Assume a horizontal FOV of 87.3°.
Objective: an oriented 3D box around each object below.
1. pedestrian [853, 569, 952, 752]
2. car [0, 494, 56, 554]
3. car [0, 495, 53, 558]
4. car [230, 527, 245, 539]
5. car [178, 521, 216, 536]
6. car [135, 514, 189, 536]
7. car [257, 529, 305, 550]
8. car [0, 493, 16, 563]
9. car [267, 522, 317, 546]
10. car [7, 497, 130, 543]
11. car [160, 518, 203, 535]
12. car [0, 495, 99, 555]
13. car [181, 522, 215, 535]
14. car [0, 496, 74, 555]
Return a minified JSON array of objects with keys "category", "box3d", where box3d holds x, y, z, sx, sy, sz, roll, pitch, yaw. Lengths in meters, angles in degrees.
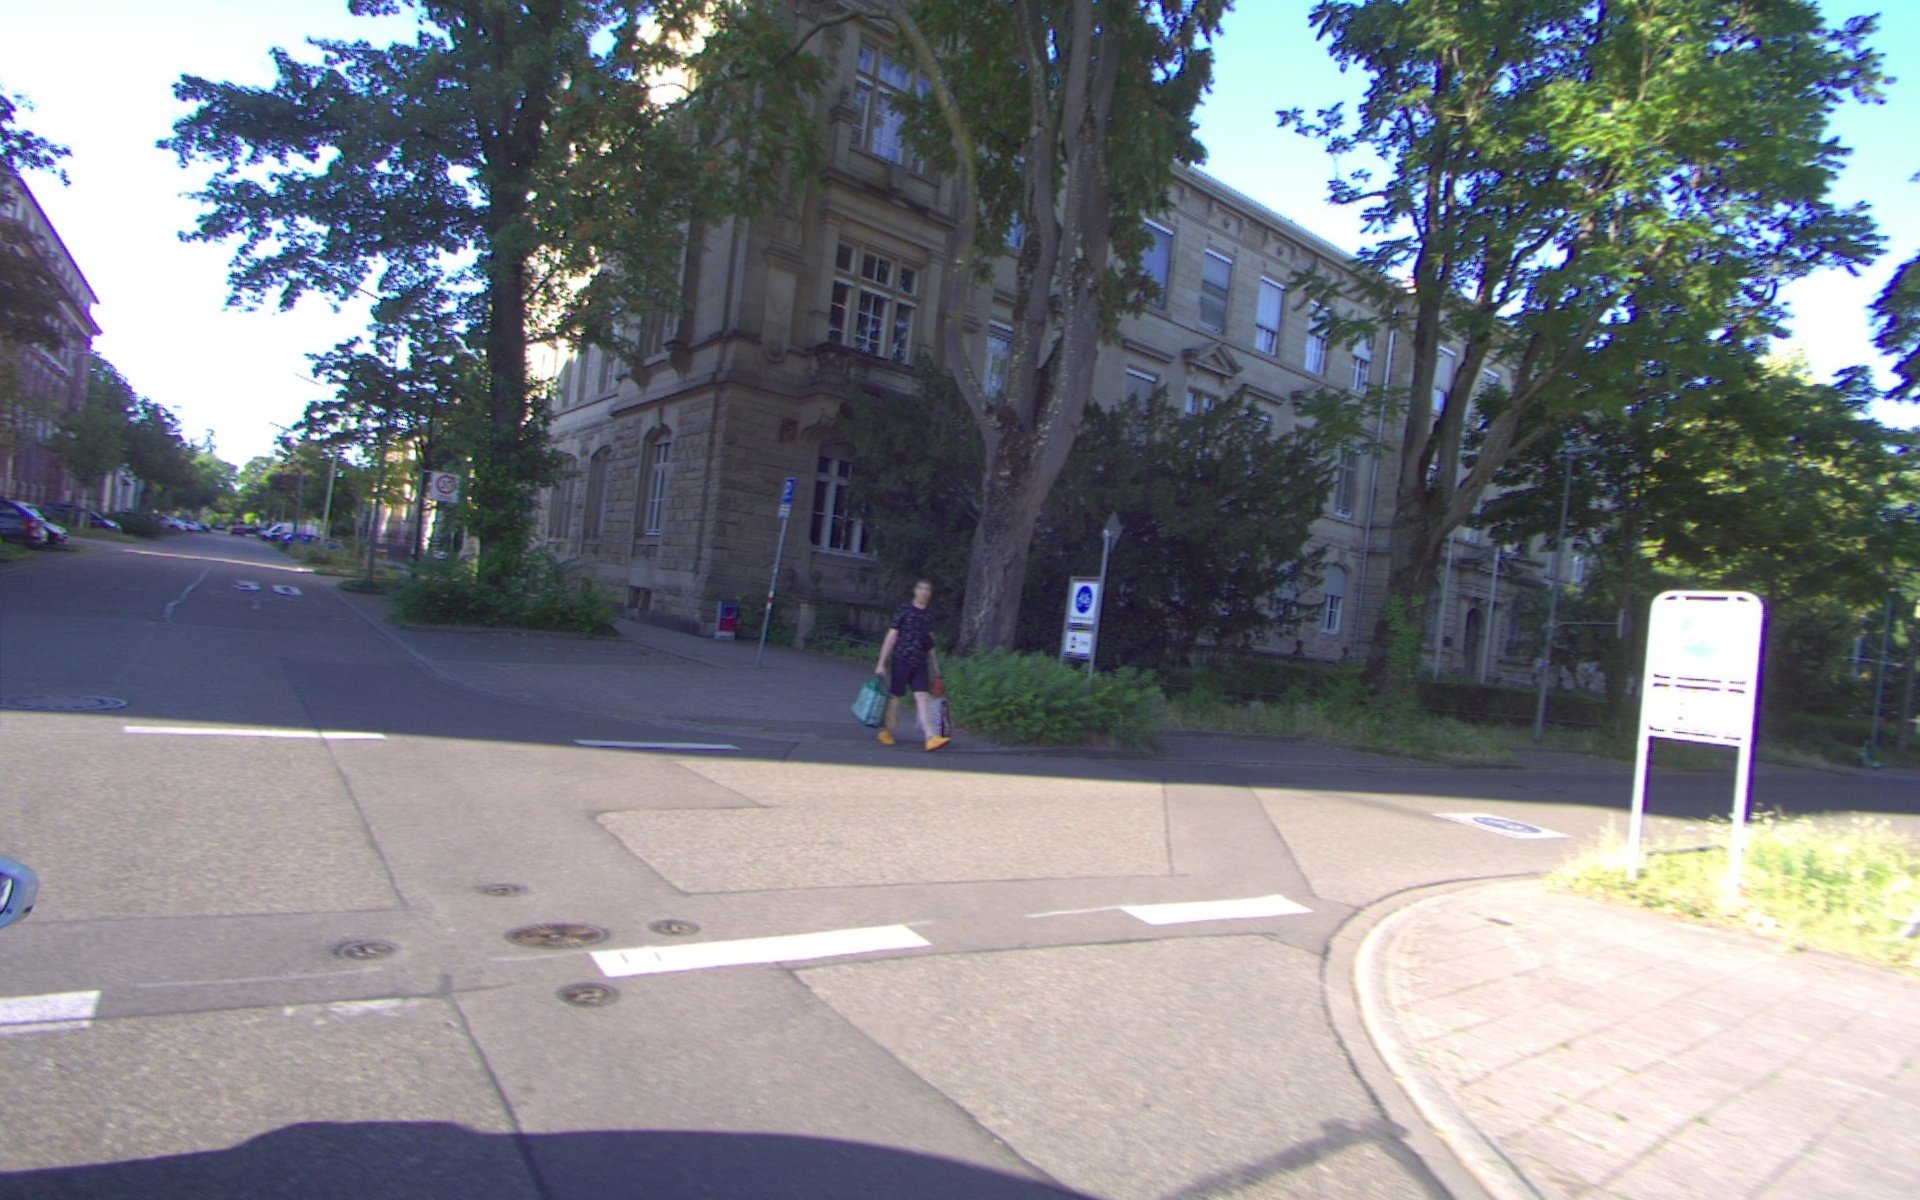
[{"category":"pedestrian","box3d":[-0.640,0.673,11.278,0.604,1.942,0.721,7,0,31]},{"category":"car","box3d":[-28.318,-2.421,28.056,4.363,1.513,1.945,10,-2,-39]},{"category":"car","box3d":[-26.650,-2.229,26.110,4.363,1.513,1.945,10,-2,-39]},{"category":"car","box3d":[-119.391,-11.042,166.226,1.736,1.726,3.634,7,-1,-39]},{"category":"car","box3d":[-108.460,-10.171,143.078,4.067,1.512,1.914,8,-1,-36]},{"category":"car","box3d":[-80.006,-7.494,100.907,4.067,1.512,1.914,8,-1,-36]},{"category":"car","box3d":[-70.846,-6.342,105.009,3.966,1.637,1.771,8,-1,-36]},{"category":"car","box3d":[-22.700,-1.867,20.790,4.363,1.513,1.945,10,-2,-39]},{"category":"car","box3d":[-78.574,-7.784,118.343,4.679,2.128,1.981,8,-1,-36]},{"category":"car","box3d":[-45.228,-4.036,51.174,4.358,1.513,1.947,10,-2,-36]},{"category":"car","box3d":[-98.433,-9.256,127.208,4.067,1.512,1.914,8,-1,-36]},{"category":"car","box3d":[-30.563,-2.573,32.185,4.363,1.513,1.945,10,-2,-39]},{"category":"car","box3d":[-122.372,-11.424,161.593,4.067,1.512,1.914,8,-1,-36]},{"category":"car","box3d":[-29.636,-2.483,30.167,4.363,1.513,1.945,10,-2,-39]}]
